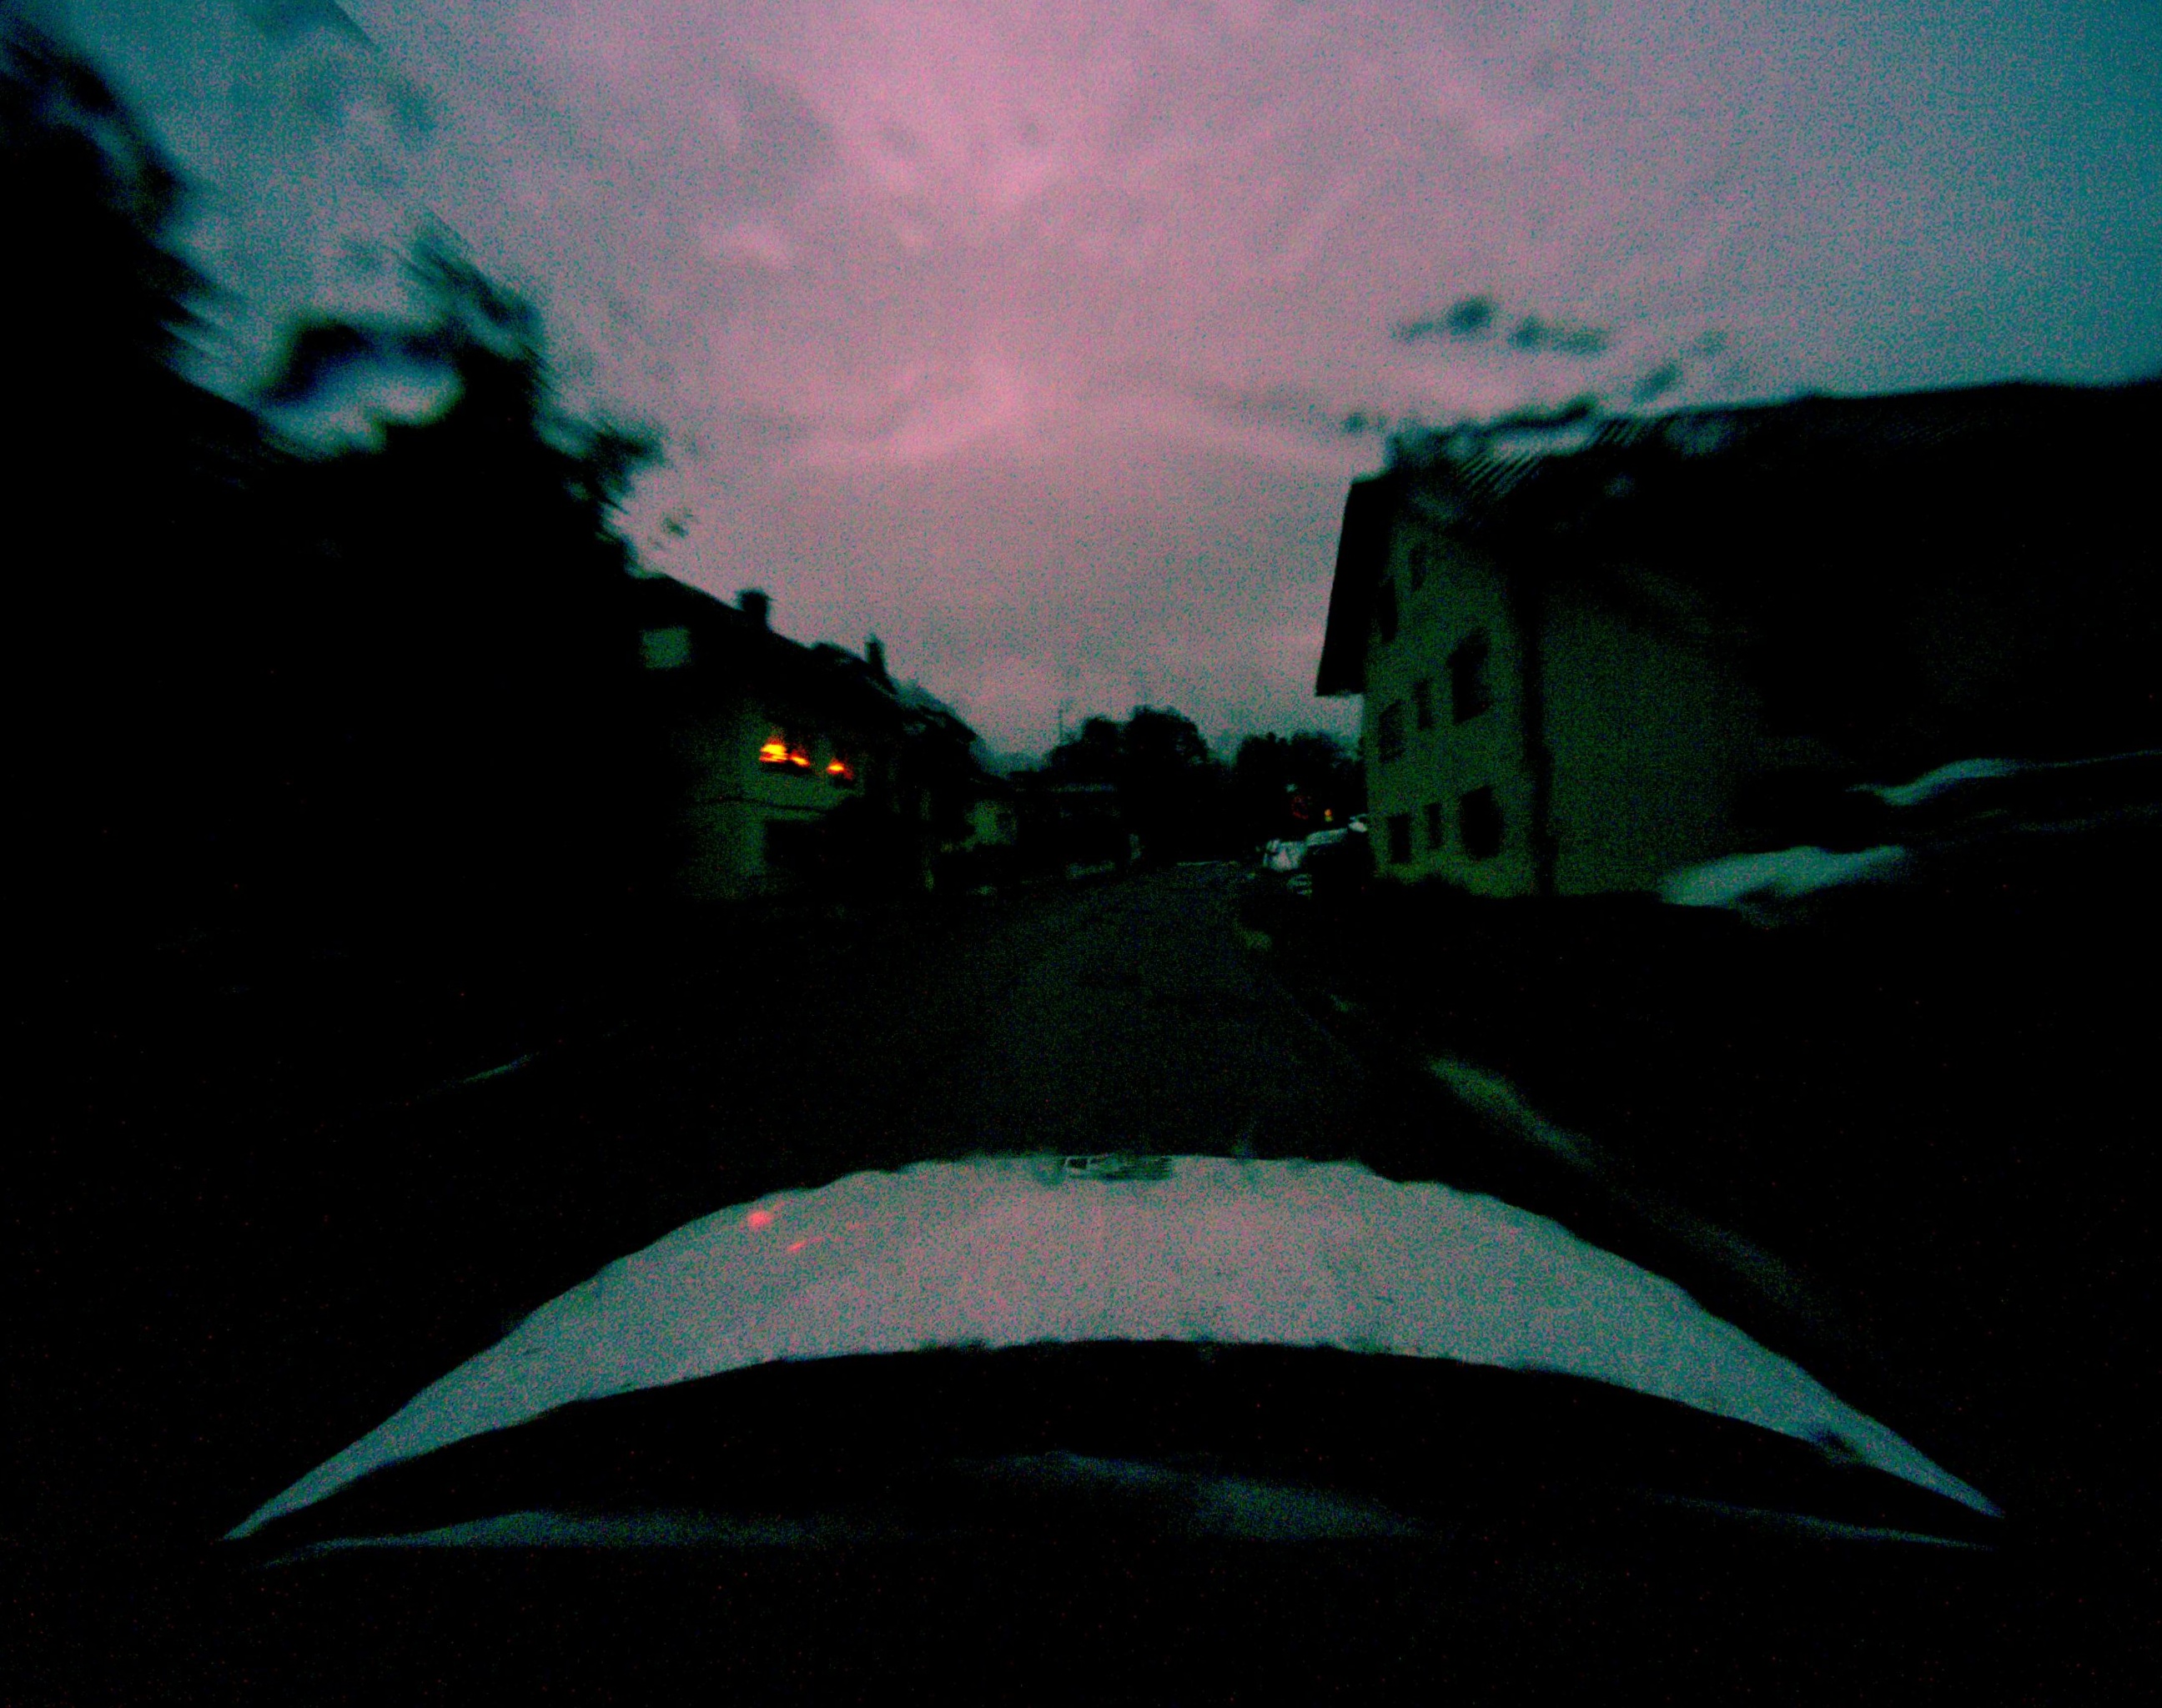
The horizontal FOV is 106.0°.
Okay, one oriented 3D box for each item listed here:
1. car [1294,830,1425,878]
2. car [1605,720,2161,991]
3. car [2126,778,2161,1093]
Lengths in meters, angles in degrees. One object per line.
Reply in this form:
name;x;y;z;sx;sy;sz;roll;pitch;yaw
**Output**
car;10.585;0.004;31.302;4.476;1.443;2.006;-4;0;11
car;7.404;-0.048;7.152;4.265;1.456;1.780;-11;-1;2
car;7.002;0.279;3.149;3.979;1.457;1.688;-3;0;-4
